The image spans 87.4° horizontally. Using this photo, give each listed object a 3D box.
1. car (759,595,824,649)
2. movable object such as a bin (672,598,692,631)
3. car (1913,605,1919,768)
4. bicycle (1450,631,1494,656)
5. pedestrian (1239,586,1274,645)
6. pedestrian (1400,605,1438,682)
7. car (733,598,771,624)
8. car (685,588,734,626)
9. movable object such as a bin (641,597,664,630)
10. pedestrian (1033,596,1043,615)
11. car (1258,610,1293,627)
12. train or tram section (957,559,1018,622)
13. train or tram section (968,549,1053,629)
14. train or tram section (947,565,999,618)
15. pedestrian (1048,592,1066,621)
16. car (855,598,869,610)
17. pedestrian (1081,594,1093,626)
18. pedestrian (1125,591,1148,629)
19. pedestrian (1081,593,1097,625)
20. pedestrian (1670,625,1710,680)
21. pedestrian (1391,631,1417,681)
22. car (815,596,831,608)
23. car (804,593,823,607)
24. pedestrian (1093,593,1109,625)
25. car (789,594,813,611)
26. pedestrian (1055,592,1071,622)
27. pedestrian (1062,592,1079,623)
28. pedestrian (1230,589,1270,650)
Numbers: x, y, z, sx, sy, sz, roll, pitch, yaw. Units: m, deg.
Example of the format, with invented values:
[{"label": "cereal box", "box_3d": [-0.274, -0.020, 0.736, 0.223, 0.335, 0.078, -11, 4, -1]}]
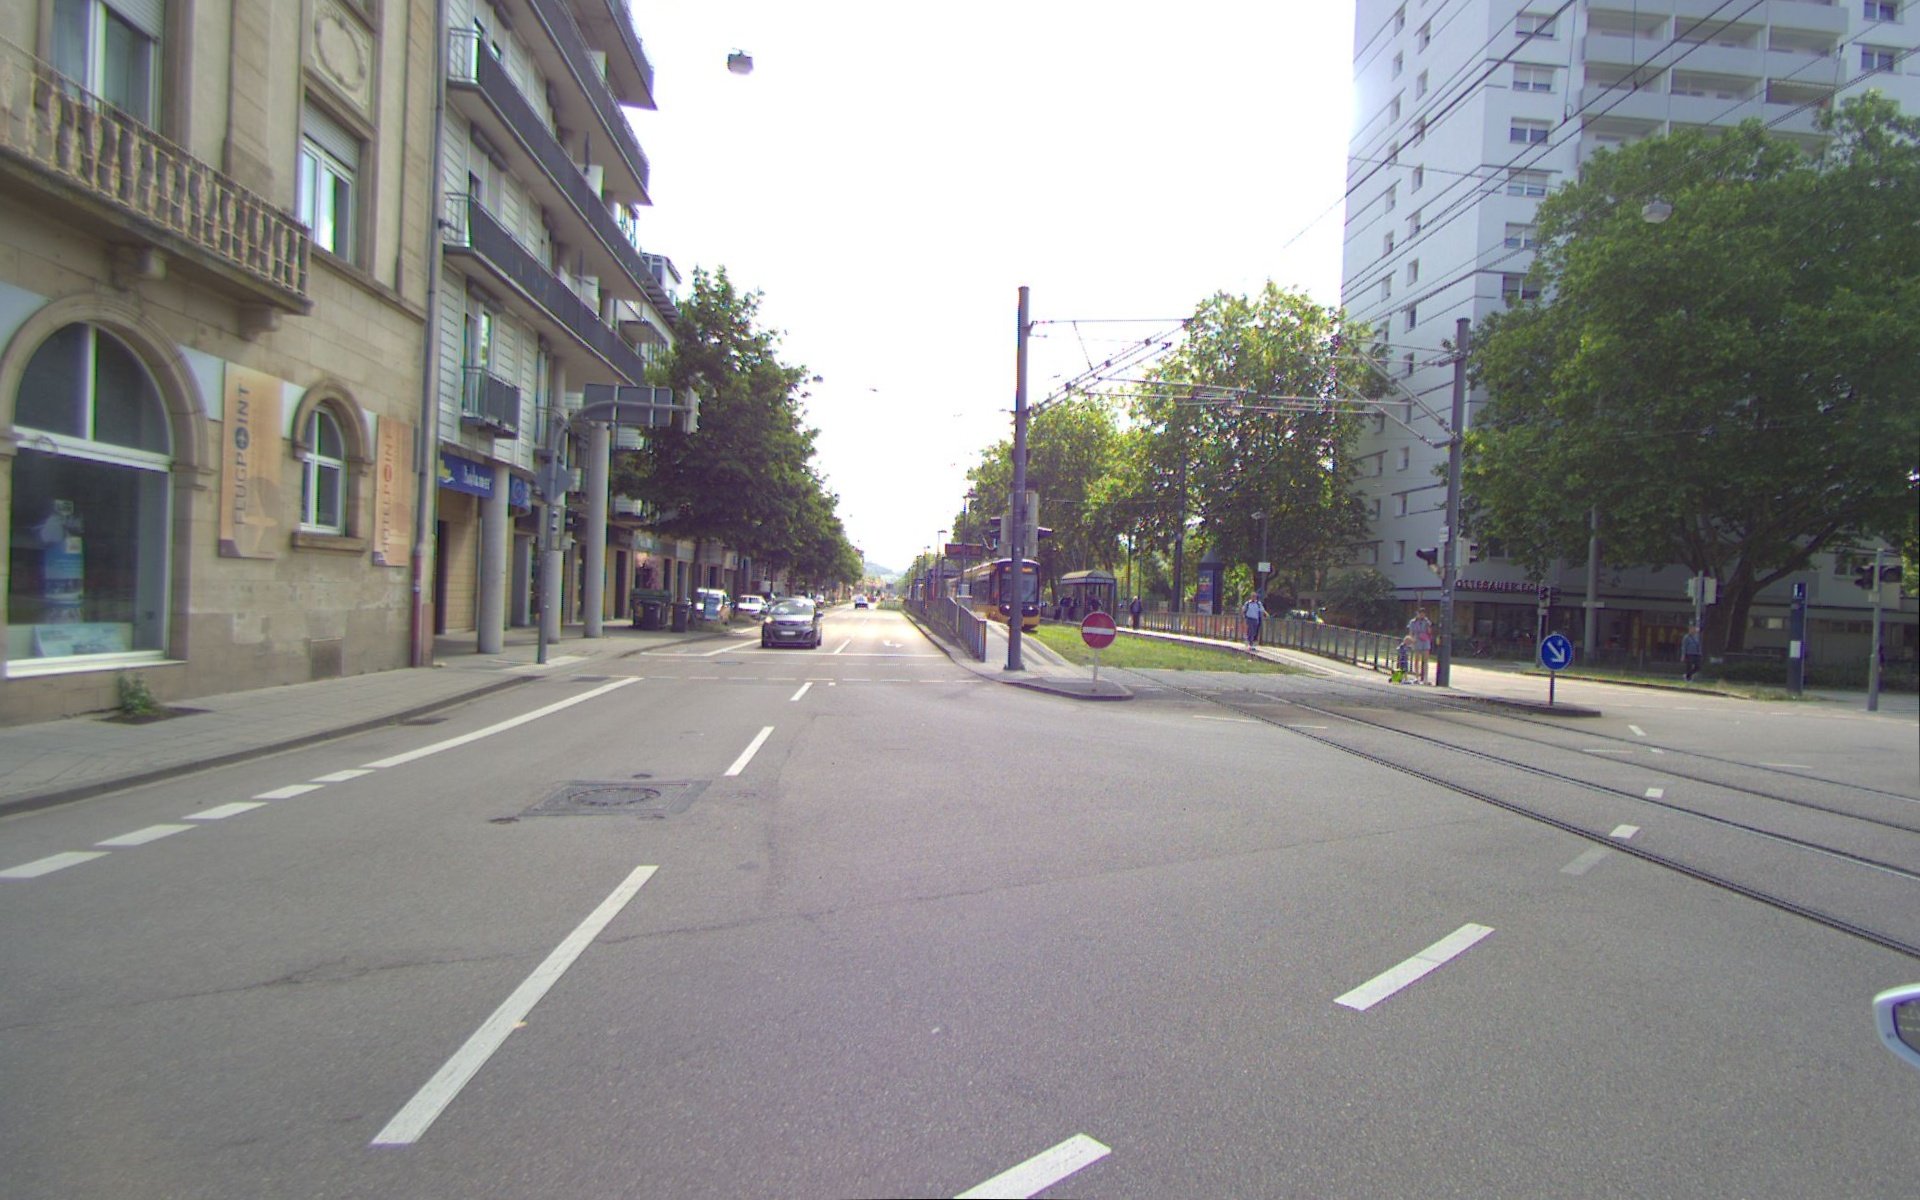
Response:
[{"label": "car", "box_3d": [-4.999, 0.604, 30.152, 1.608, 1.458, 3.640, 2, 0, -5]}, {"label": "movable object such as a bin", "box_3d": [-9.995, 0.527, 36.097, 0.582, 1.132, 0.787, 2, 0, -9]}, {"label": "car", "box_3d": [10.000, 0.599, 8.652, 2.021, 2.364, 4.696, 3, 0, 37]}, {"label": "bicycle", "box_3d": [23.209, 1.961, 45.563, 1.695, 1.022, 0.534, 3, 0, 23]}, {"label": "pedestrian", "box_3d": [10.034, 0.522, 34.057, 0.814, 1.924, 0.846, 3, 0, -4]}, {"label": "pedestrian", "box_3d": [10.421, 0.974, 22.815, 0.613, 1.688, 0.676, 2, 0, 15]}, {"label": "car", "box_3d": [-12.153, 0.606, 58.760, 1.692, 1.390, 3.474, 2, 0, -4]}, {"label": "car", "box_3d": [-11.219, 0.284, 45.183, 1.627, 1.600, 3.473, 2, 0, -6]}, {"label": "movable object such as a bin", "box_3d": [-10.960, 0.477, 35.856, 0.639, 1.132, 0.787, 2, 0, -9]}, {"label": "pedestrian", "box_3d": [6.441, 0.488, 83.243, 0.665, 1.535, 0.595, 2, 0, -5]}, {"label": "car", "box_3d": [30.610, 1.780, 97.512, 1.778, 1.421, 4.044, 2, 0, -4]}, {"label": "train or tram section", "box_3d": [1.625, -0.575, 65.093, 2.752, 3.631, 10.396, 3, 0, -4]}, {"label": "train or tram section", "box_3d": [2.417, -0.533, 53.390, 2.763, 3.631, 13.007, 3, 0, -4]}, {"label": "train or tram section", "box_3d": [0.805, -0.615, 76.800, 2.681, 3.631, 13.007, 3, 0, -4]}, {"label": "pedestrian", "box_3d": [6.344, 0.423, 65.922, 0.872, 1.825, 1.493, 3, 0, -5]}, {"label": "car", "box_3d": [-11.814, 0.479, 121.082, 1.629, 1.390, 3.474, 2, 0, -4]}, {"label": "pedestrian", "box_3d": [7.825, 0.607, 61.841, 0.466, 1.926, 0.533, 2, 1, -29]}, {"label": "pedestrian", "box_3d": [8.639, 0.478, 49.185, 0.844, 1.798, 0.876, 3, 0, -4]}, {"label": "pedestrian", "box_3d": [7.543, 0.518, 58.652, 0.690, 1.874, 0.907, 3, 0, -5]}, {"label": "pedestrian", "box_3d": [22.083, 1.579, 30.404, 0.525, 1.620, 0.784, 2, 0, -7]}, {"label": "pedestrian", "box_3d": [9.933, 1.242, 22.486, 0.412, 1.077, 0.437, 3, 0, 14]}, {"label": "car", "box_3d": [-16.260, 0.253, 119.434, 1.692, 1.390, 3.474, 2, 0, -4]}, {"label": "car", "box_3d": [-15.178, -0.015, 104.058, 1.692, 1.390, 3.702, 2, 0, -4]}, {"label": "pedestrian", "box_3d": [8.231, 0.528, 58.726, 0.690, 1.874, 0.788, 3, 0, -5]}, {"label": "car", "box_3d": [-13.869, 0.196, 87.816, 1.692, 1.390, 3.474, 2, 0, -4]}, {"label": "pedestrian", "box_3d": [6.497, 0.441, 63.329, 0.700, 1.825, 1.131, 3, 0, -5]}, {"label": "pedestrian", "box_3d": [7.045, 0.456, 64.095, 0.798, 1.897, 1.030, 3, 0, -5]}, {"label": "pedestrian", "box_3d": [8.974, 0.587, 31.114, 0.835, 1.804, 1.044, 3, 0, -4]}]
